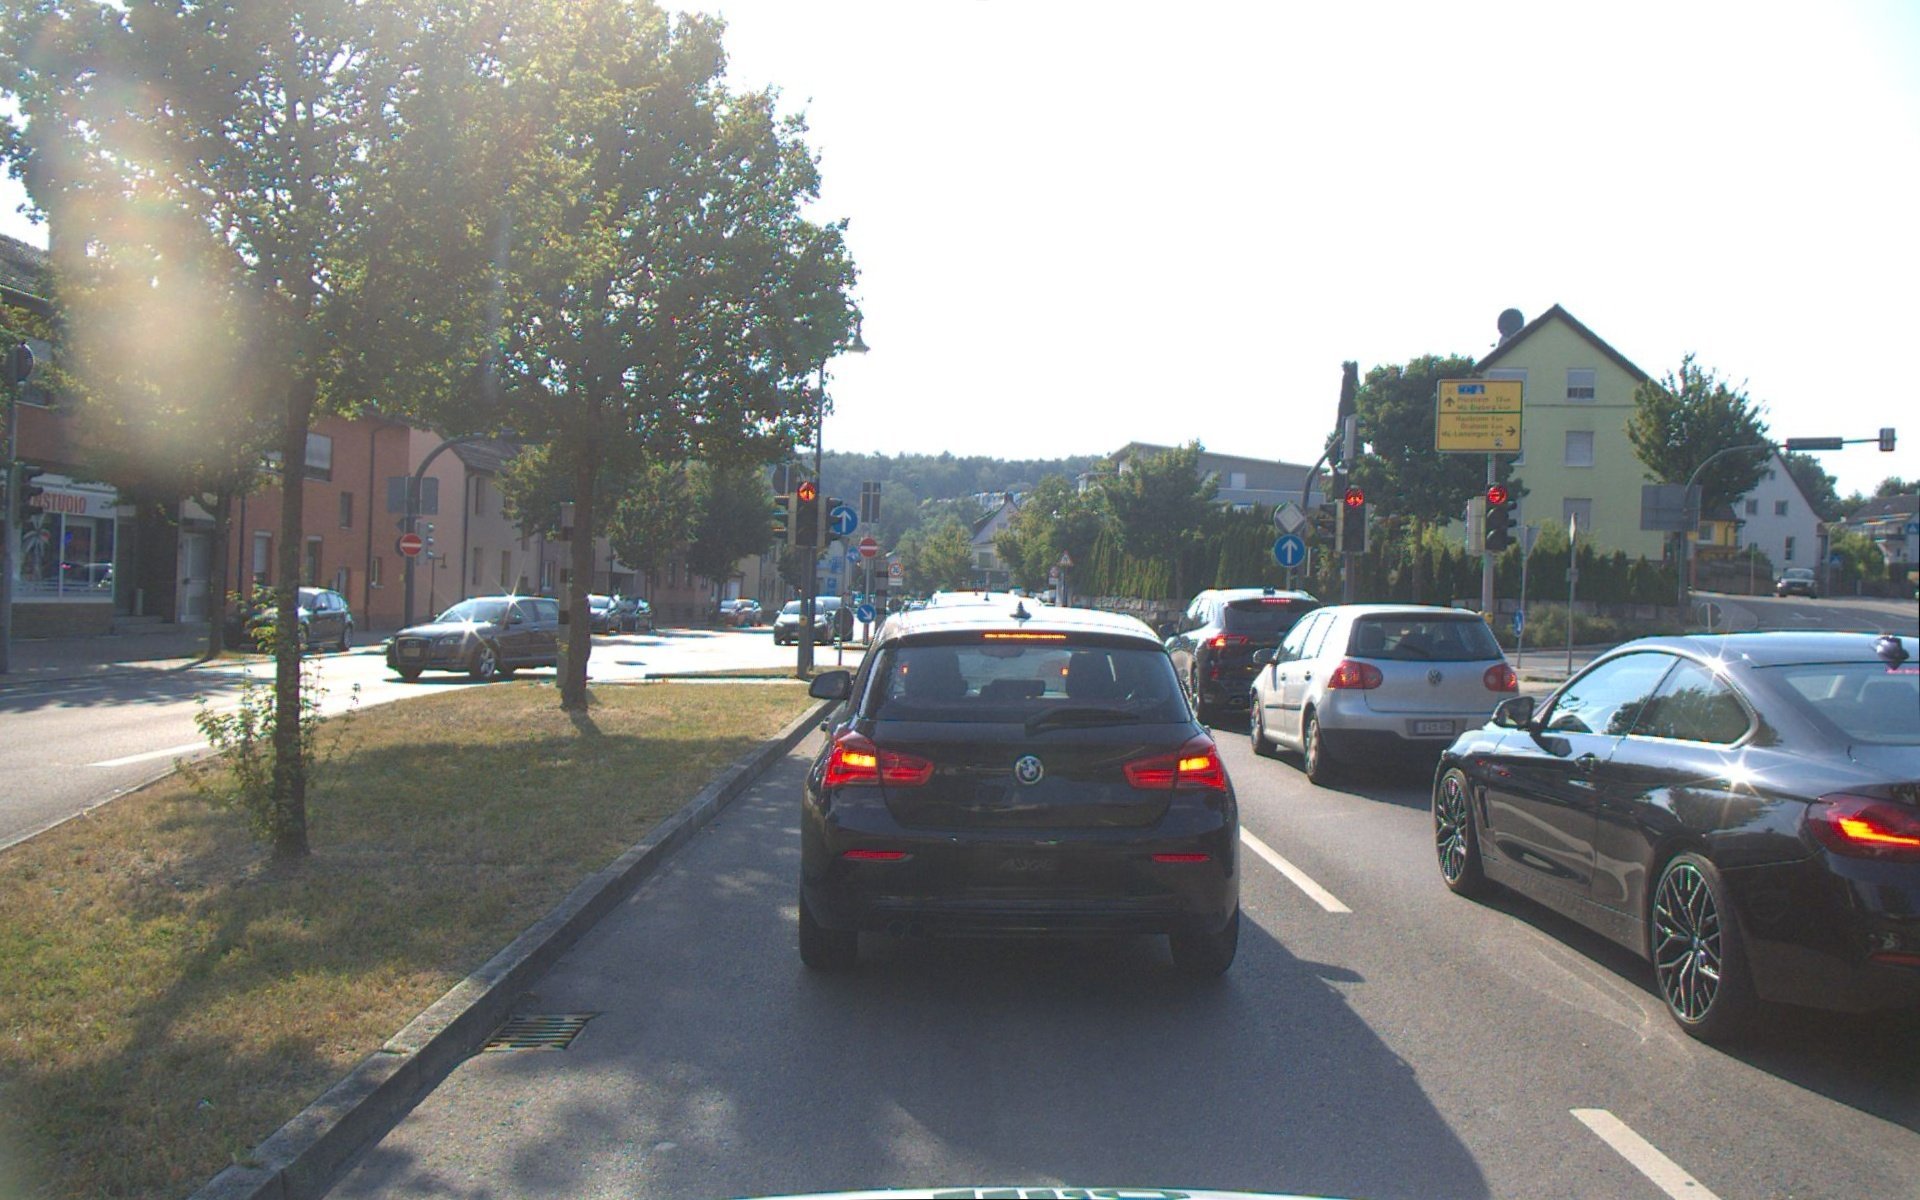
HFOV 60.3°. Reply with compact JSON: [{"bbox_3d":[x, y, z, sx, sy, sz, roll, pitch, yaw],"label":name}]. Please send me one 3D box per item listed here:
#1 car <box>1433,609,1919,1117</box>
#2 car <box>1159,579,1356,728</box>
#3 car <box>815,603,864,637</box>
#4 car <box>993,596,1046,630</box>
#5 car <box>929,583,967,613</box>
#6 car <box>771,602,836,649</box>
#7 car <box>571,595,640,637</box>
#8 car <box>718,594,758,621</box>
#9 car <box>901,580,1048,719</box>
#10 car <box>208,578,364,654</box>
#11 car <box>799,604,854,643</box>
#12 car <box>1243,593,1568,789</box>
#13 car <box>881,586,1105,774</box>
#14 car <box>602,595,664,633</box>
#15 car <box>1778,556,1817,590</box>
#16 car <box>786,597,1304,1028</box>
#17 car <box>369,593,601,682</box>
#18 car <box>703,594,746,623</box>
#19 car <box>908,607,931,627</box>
[{"bbox_3d":[3.471,0.778,6.918,1.779,1.413,4.347,1,0,1],"label":"car"},{"bbox_3d":[3.702,0.610,21.276,1.779,1.695,4.347,1,0,1],"label":"car"},{"bbox_3d":[-5.080,0.828,70.154,1.658,1.377,4.000,1,0,1],"label":"car"},{"bbox_3d":[2.762,0.604,77.718,1.826,1.511,4.652,1,0,-7],"label":"car"},{"bbox_3d":[-0.751,-0.120,98.897,1.854,1.732,4.518,0,0,-6],"label":"car"},{"bbox_3d":[-5.248,0.822,55.939,1.730,1.484,4.000,1,0,1],"label":"car"},{"bbox_3d":[-14.426,0.614,67.484,1.884,1.624,4.000,1,0,1],"label":"car"},{"bbox_3d":[-13.877,0.476,103.597,1.884,1.624,4.000,1,0,1],"label":"car"},{"bbox_3d":[0.204,0.601,22.307,1.779,1.670,4.242,1,0,1],"label":"car"},{"bbox_3d":[-15.565,0.348,38.420,1.805,1.579,4.001,3,0,2],"label":"car"},{"bbox_3d":[-5.038,0.856,62.916,1.658,1.377,4.000,1,0,1],"label":"car"},{"bbox_3d":[3.775,0.690,14.817,1.779,1.471,4.347,1,0,1],"label":"car"},{"bbox_3d":[0.292,0.631,15.376,1.779,1.476,4.242,1,0,1],"label":"car"},{"bbox_3d":[-14.471,0.588,73.358,1.884,1.624,4.000,1,0,1],"label":"car"},{"bbox_3d":[43.422,-1.419,85.731,1.752,1.533,4.066,1,4,27],"label":"car"},{"bbox_3d":[0.319,0.723,7.835,1.754,1.439,4.347,1,0,1],"label":"car"},{"bbox_3d":[-8.189,0.606,28.902,1.612,1.411,4.188,1,0,23],"label":"car"},{"bbox_3d":[-13.919,0.496,98.091,1.884,1.624,4.000,1,0,1],"label":"car"},{"bbox_3d":[-3.411,1.419,138.660,1.885,1.624,3.999,1,0,-1],"label":"car"}]
